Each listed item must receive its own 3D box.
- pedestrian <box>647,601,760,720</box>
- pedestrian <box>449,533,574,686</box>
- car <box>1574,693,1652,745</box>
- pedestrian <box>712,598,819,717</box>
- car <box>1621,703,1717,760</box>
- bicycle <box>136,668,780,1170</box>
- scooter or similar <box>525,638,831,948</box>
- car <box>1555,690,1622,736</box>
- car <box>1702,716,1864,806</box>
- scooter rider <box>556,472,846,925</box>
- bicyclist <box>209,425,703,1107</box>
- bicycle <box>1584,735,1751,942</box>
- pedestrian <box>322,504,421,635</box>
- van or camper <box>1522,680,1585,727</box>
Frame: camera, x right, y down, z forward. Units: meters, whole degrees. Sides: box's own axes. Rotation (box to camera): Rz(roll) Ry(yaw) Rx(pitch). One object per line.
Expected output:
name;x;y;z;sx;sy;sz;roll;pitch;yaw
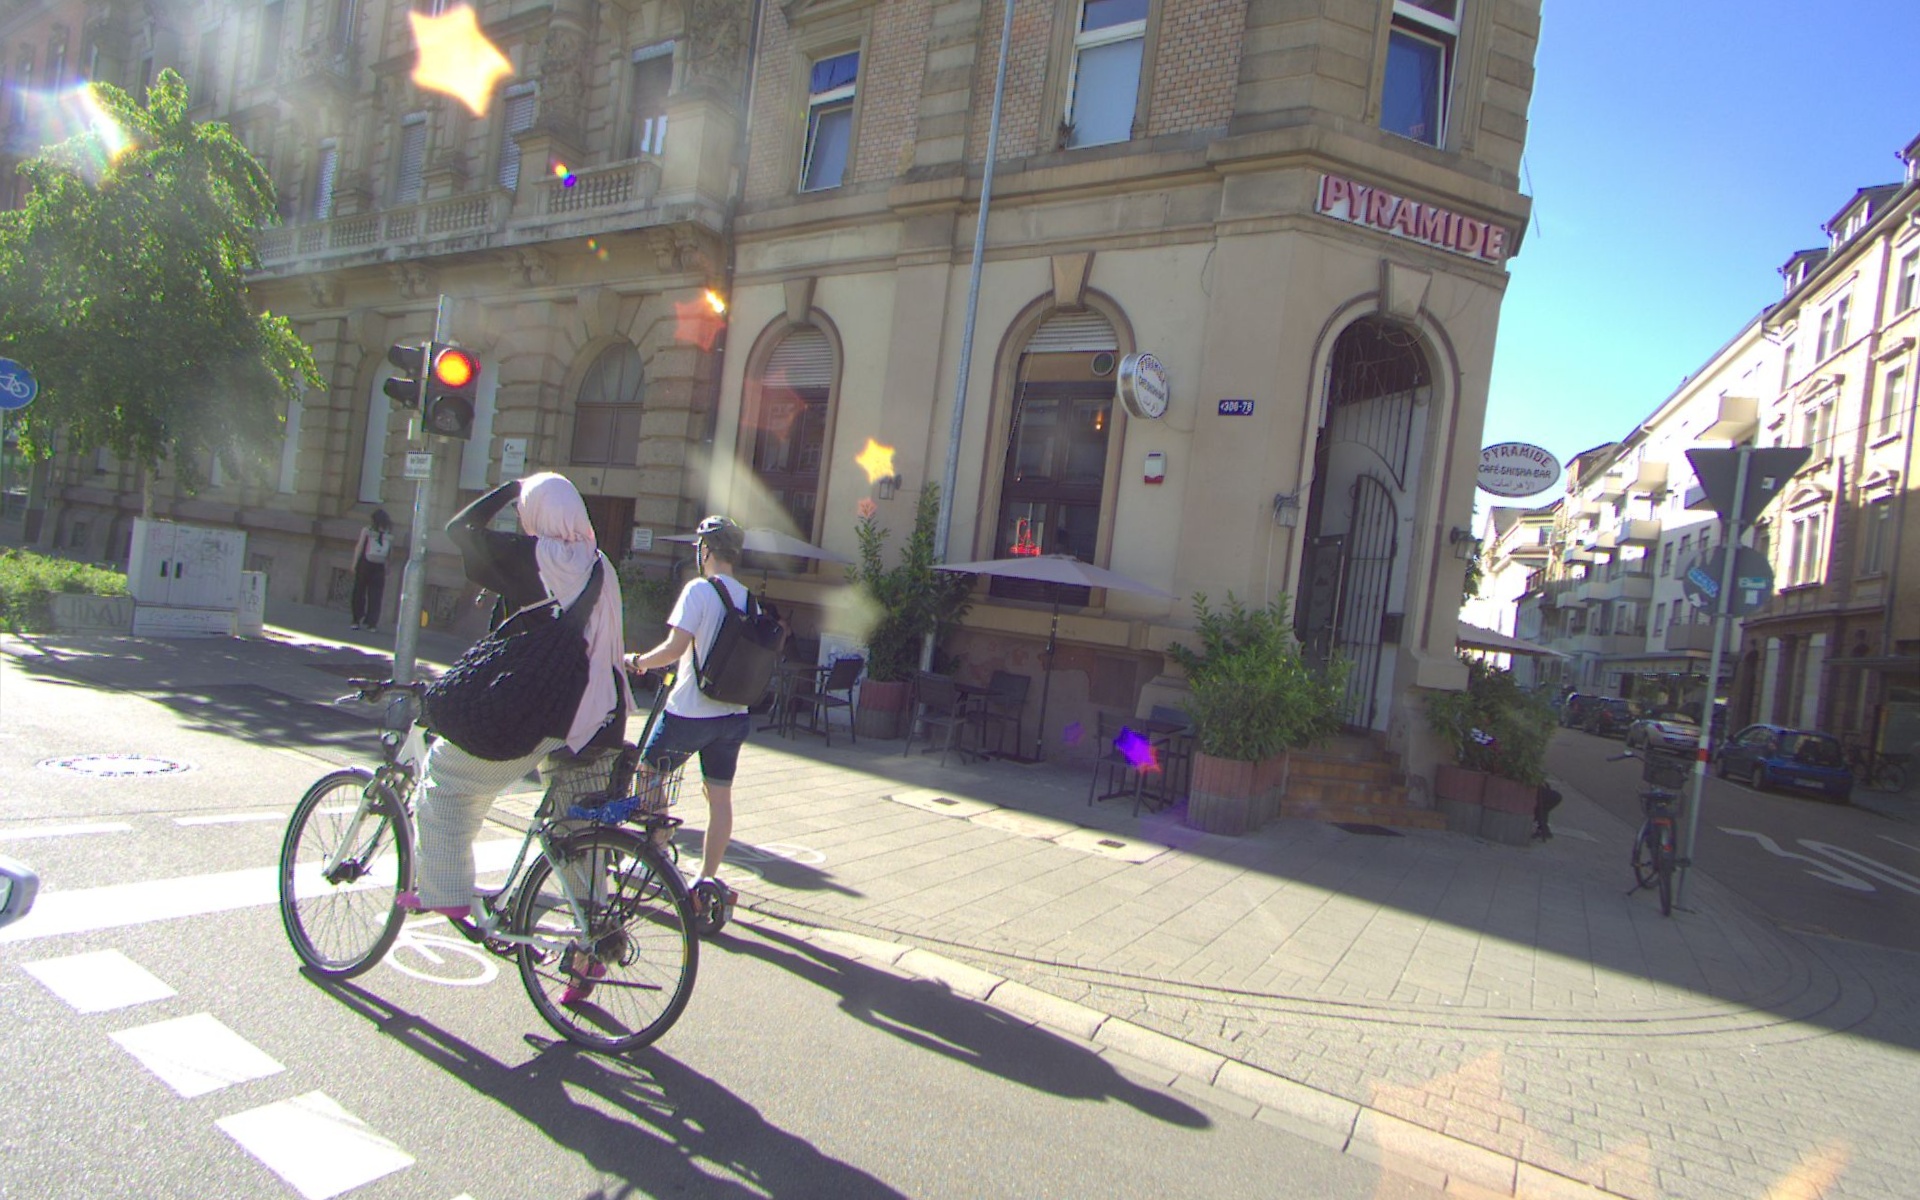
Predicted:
pedestrian;-2.875;0.671;11.282;0.867;1.197;0.718;6;0;31
pedestrian;-5.474;0.109;12.266;0.966;1.714;1.100;4;2;-44
car;23.869;4.310;36.875;1.599;1.424;3.439;9;1;22
pedestrian;-2.332;0.692;12.098;0.873;1.298;0.726;6;0;31
car;21.469;3.959;30.602;1.600;1.337;3.389;7;-1;24
bicycle;-1.662;0.876;3.301;1.917;1.018;0.726;7;-1;24
scooter or similar;-1.337;0.854;4.791;1.130;1.172;0.647;7;-1;26
car;25.897;4.634;41.560;1.599;1.424;3.439;9;1;22
car;18.396;3.534;22.684;1.587;1.428;3.703;7;-1;21
scooter rider;-1.212;0.423;4.761;0.882;1.888;0.663;7;-1;27
bicyclist;-1.630;0.450;3.316;1.071;1.839;0.726;7;-1;23
bicycle;5.780;1.823;8.173;0.804;1.247;2.211;11;2;38
pedestrian;-9.366;-0.482;15.998;1.081;1.945;0.889;7;2;37
van or camper;30.222;5.226;51.342;1.850;1.867;4.545;9;1;22
